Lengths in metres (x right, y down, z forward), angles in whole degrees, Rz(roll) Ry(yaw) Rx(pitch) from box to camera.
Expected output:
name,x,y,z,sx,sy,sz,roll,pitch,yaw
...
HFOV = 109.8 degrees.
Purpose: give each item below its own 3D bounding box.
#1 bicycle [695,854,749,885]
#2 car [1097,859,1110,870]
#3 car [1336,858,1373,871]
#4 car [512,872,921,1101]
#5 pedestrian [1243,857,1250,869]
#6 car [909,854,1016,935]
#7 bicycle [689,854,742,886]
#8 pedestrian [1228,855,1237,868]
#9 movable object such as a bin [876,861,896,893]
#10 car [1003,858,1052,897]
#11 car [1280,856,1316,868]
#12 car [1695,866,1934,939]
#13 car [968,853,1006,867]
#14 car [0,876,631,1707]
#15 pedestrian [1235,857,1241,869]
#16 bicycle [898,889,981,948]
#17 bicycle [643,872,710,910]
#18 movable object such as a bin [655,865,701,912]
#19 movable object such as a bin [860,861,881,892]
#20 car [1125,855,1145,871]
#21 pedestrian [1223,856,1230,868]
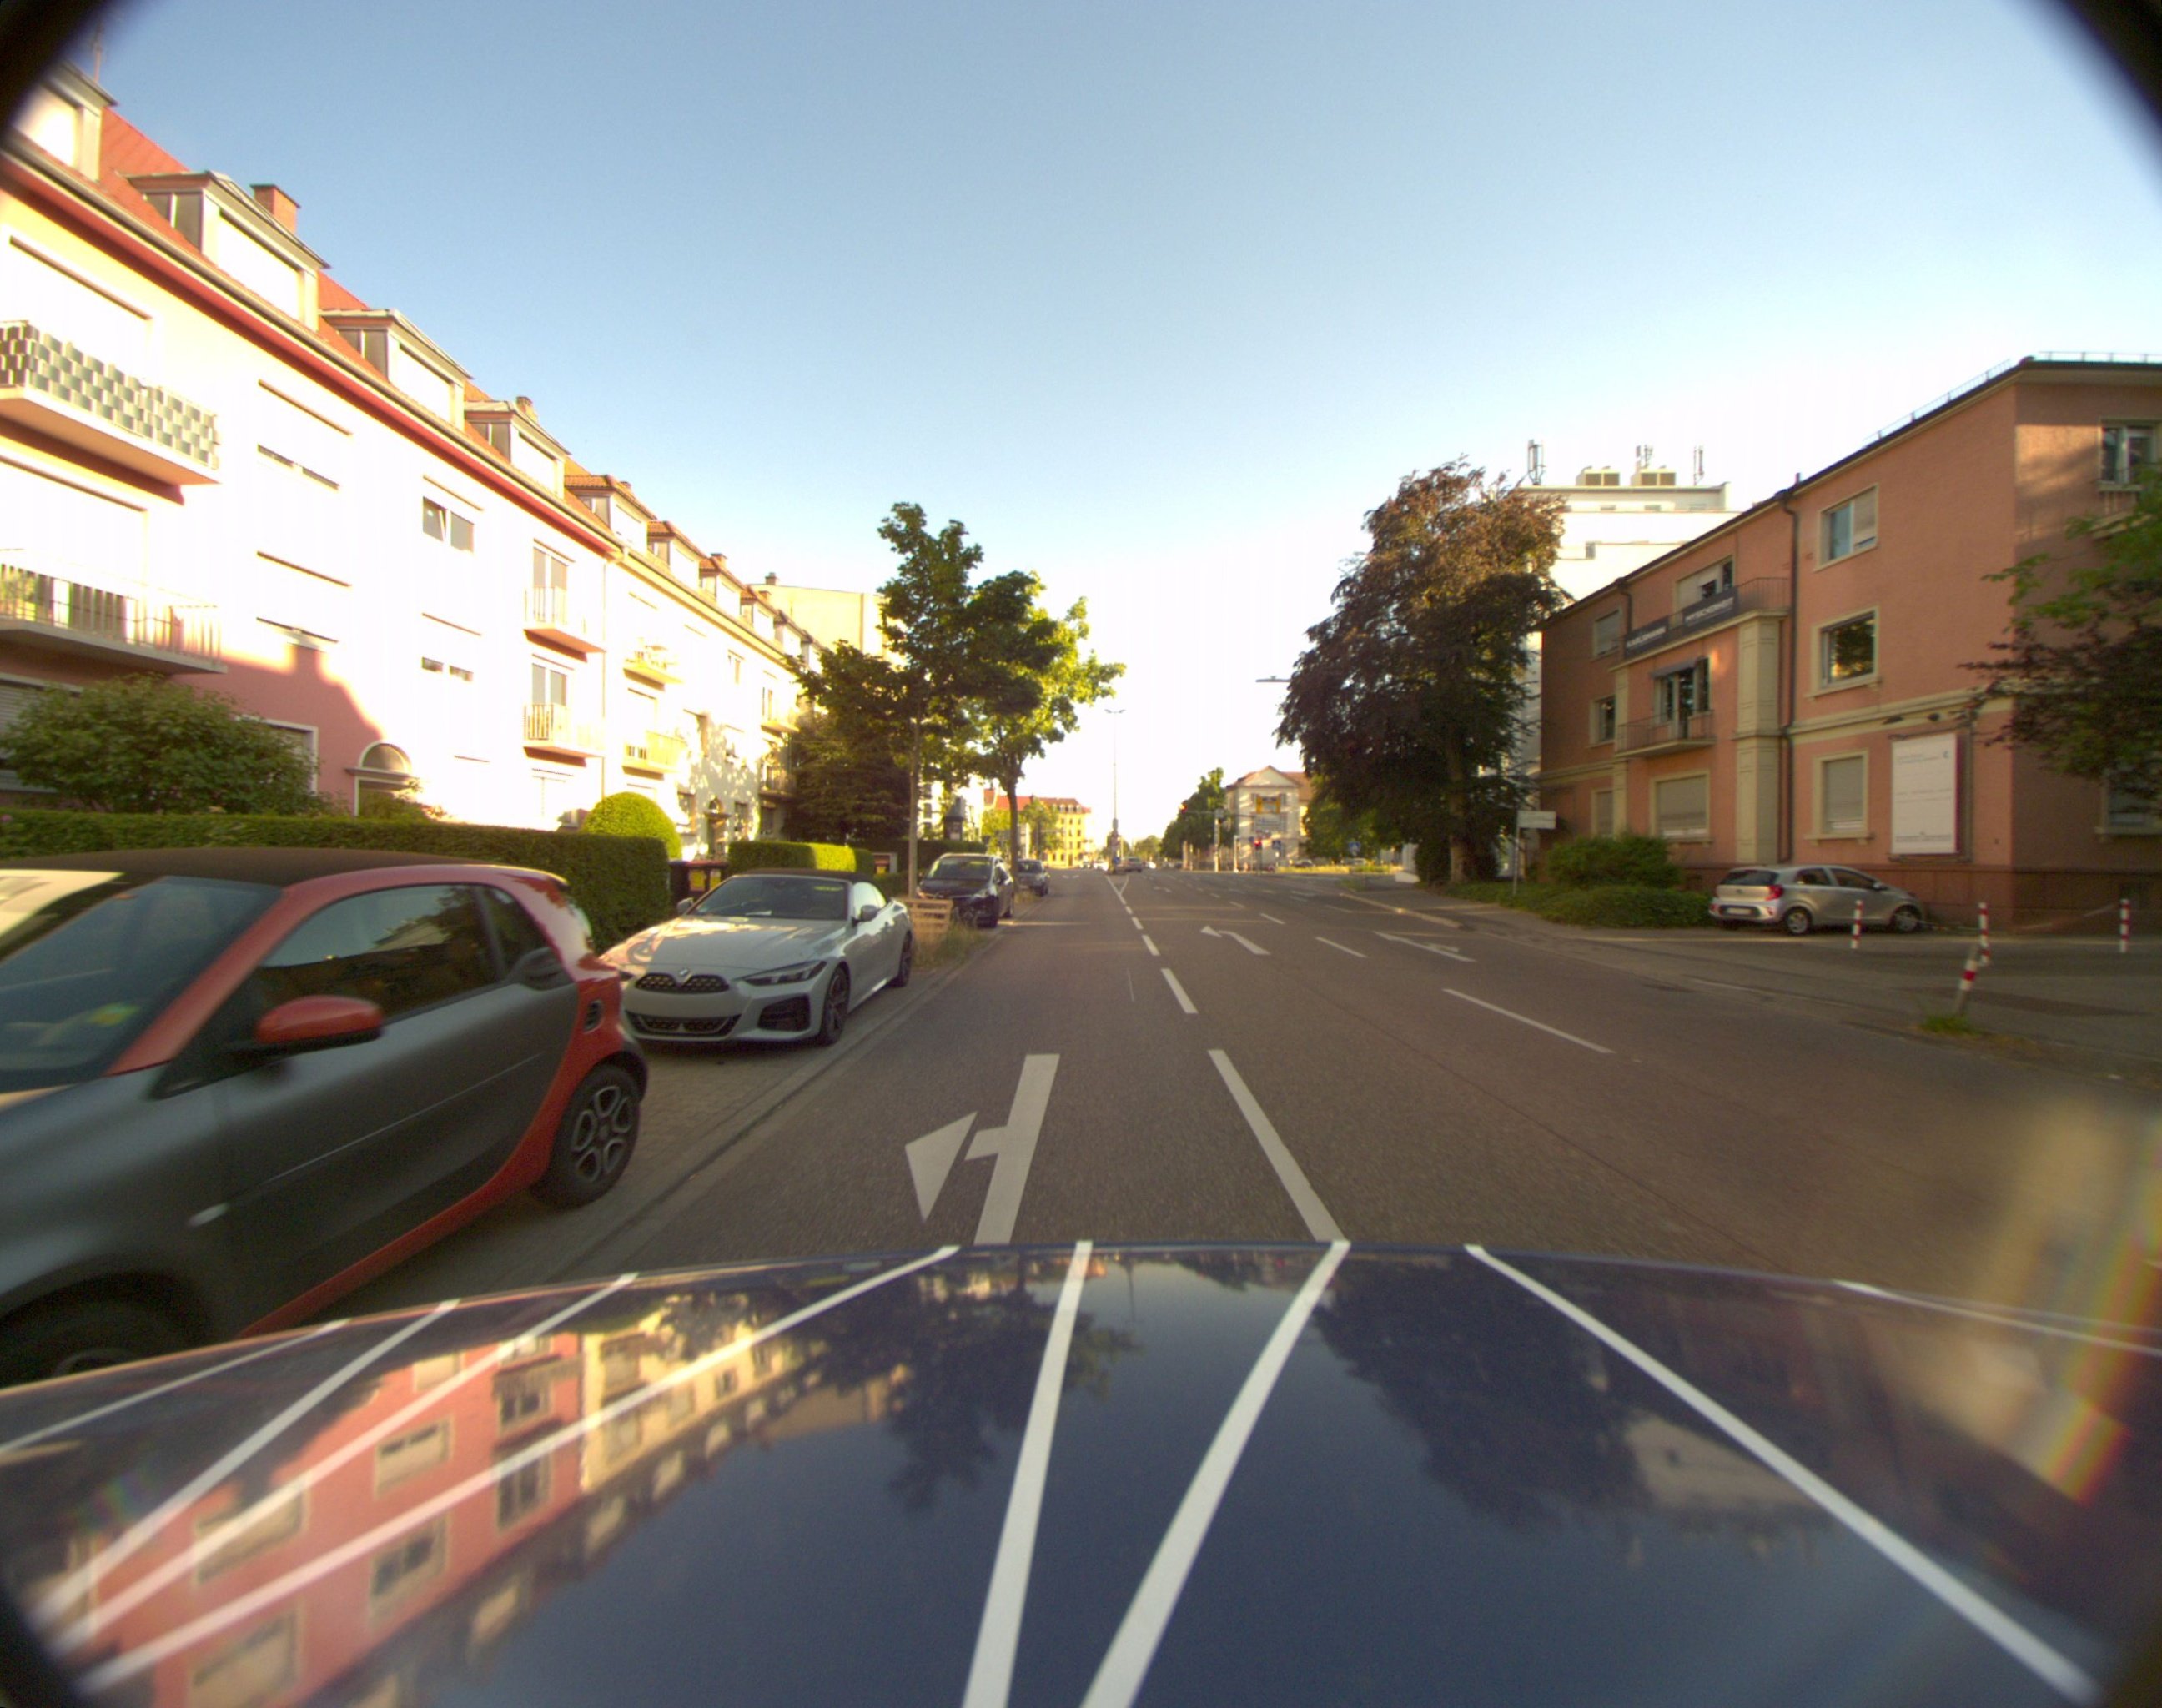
name,x,y,z,sx,sy,sz,roll,pitch,yaw
bicycle,-12.392,0.539,26.263,1.652,1.050,0.426,0,0,-4
car,3.091,1.457,105.462,1.764,1.489,3.708,0,0,1
car,32.558,1.246,90.479,3.645,1.437,1.999,0,0,-3
car,-2.973,0.958,7.552,1.925,1.477,4.745,0,0,-2
pedestrian,22.603,1.173,103.950,0.678,1.641,0.882,0,0,-8
car,-2.616,0.852,17.790,1.736,1.641,4.292,0,0,1
bicycle,-12.276,0.530,25.535,1.525,1.050,0.426,0,0,-4
pedestrian,21.747,1.067,109.109,0.821,1.838,1.169,0,0,-8
movable object such as a bin,-7.668,0.892,29.878,0.554,1.232,0.828,0,0,1
car,-2.182,0.934,31.872,1.736,1.542,3.646,0,0,1
car,25.559,0.958,89.672,3.645,1.437,1.999,0,0,-3
car,15.822,1.021,16.521,3.507,1.477,1.815,0,0,-3
car,-10.073,0.607,81.783,3.900,1.452,1.833,0,0,-3
car,-2.993,0.941,1.677,1.777,1.632,3.756,0,1,0
pedestrian,21.493,1.265,103.925,0.621,1.641,0.889,0,0,-8
bicycle,-2.631,1.182,14.134,1.482,1.053,0.411,0,0,-11
bicycle,-9.328,0.855,17.548,1.362,0.849,0.365,0,0,1
movable object such as a bin,-8.874,0.750,16.763,0.583,0.996,0.796,0,0,1
movable object such as a bin,-8.281,0.879,29.937,0.554,1.213,0.828,0,0,1
car,5.225,0.900,73.619,1.831,1.505,4.606,0,0,4
pedestrian,20.825,1.146,108.797,0.678,1.698,1.084,0,0,-8
